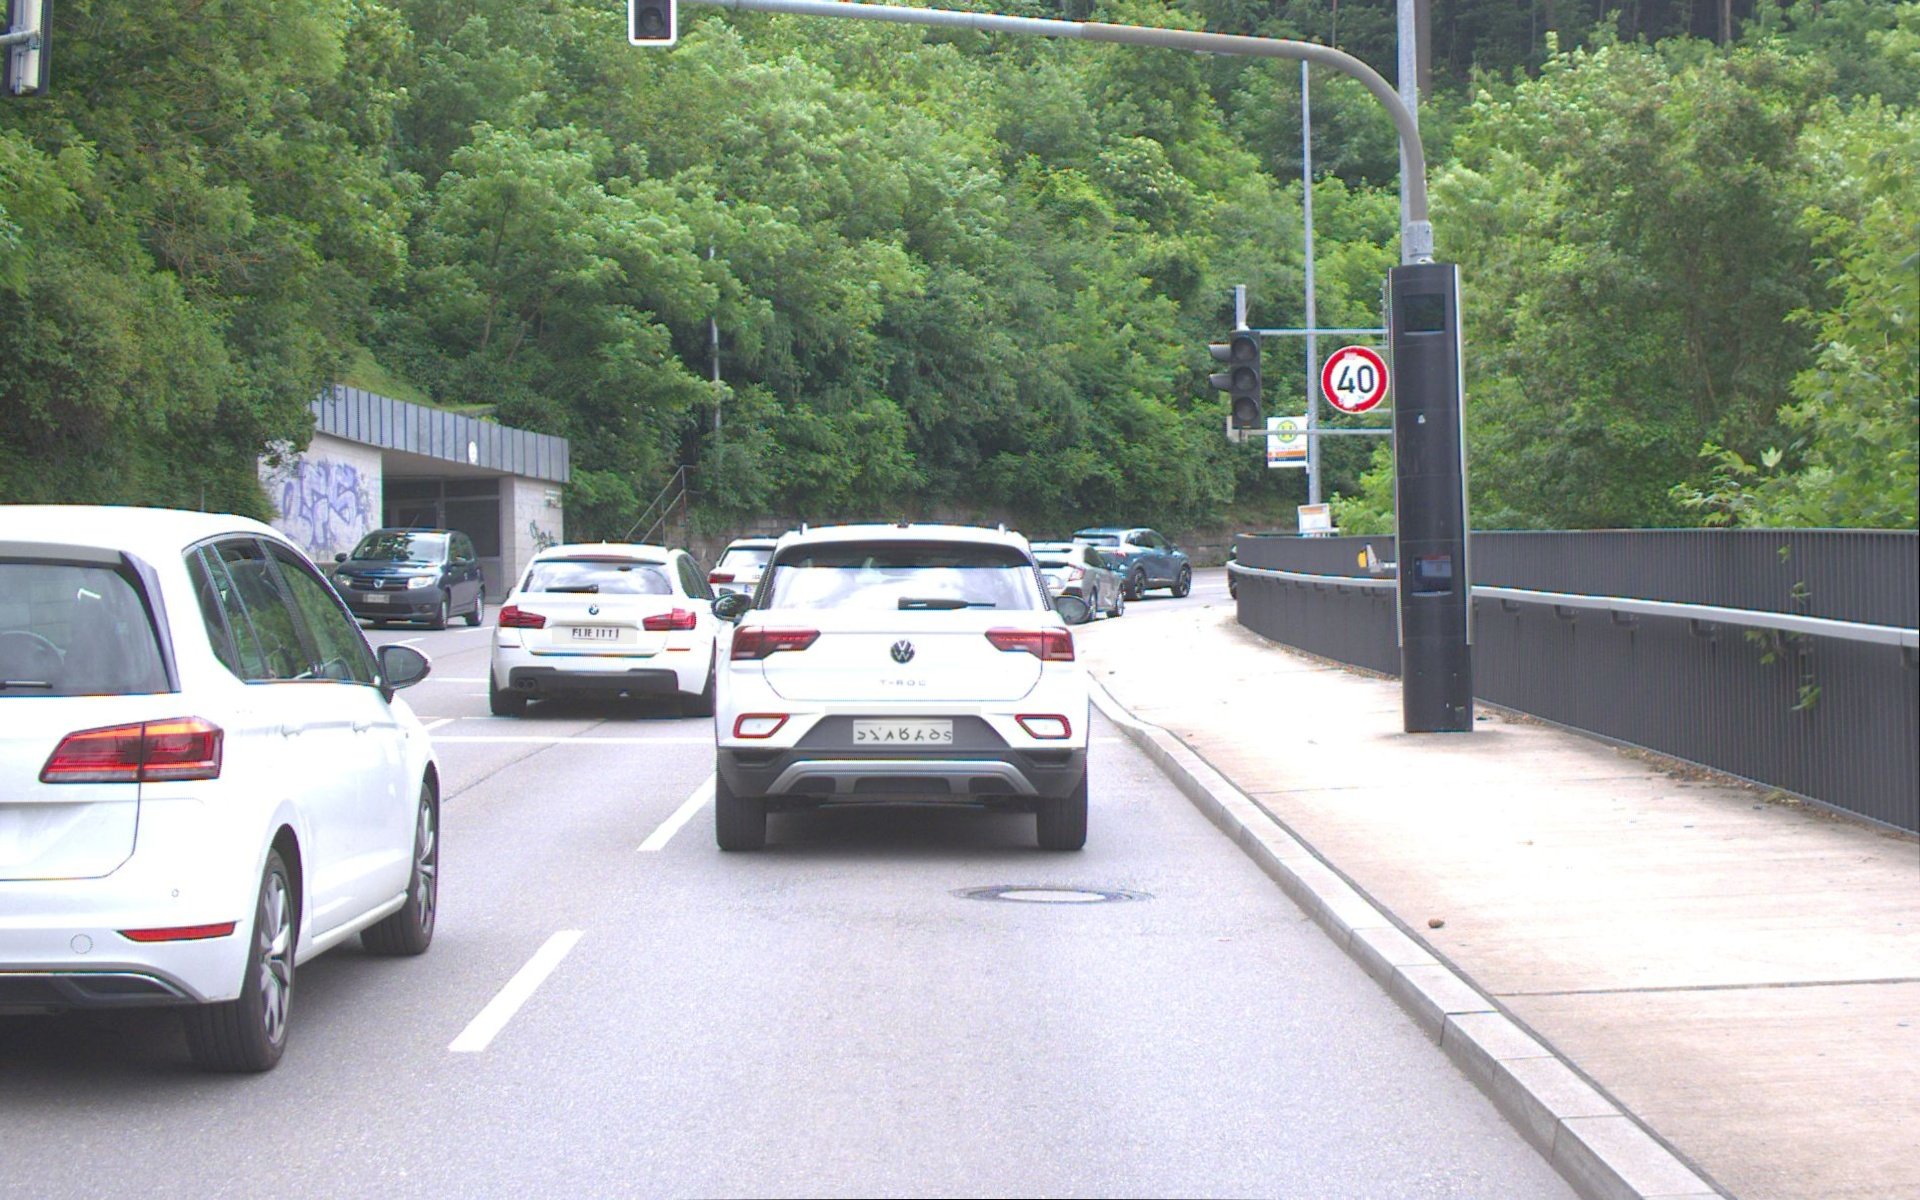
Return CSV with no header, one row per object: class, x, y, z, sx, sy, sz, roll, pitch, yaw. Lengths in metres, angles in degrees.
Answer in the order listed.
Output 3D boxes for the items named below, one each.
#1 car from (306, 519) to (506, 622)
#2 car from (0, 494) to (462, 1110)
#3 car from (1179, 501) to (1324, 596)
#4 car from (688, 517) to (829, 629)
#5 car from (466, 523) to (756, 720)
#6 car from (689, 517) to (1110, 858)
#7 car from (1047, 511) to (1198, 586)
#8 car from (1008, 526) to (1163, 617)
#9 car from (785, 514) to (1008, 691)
car,-8.319,-0.453,51.968,1.813,1.429,4.247,2,1,7
car,-2.701,0.462,10.784,1.720,1.549,4.276,1,1,-1
car,6.511,-1.131,76.478,1.996,2.007,3.995,2,1,23
car,-3.040,-0.420,52.585,1.862,1.589,4.000,2,1,0
car,-2.964,0.126,30.151,1.993,1.552,4.681,1,1,1
car,-0.188,0.370,17.490,1.814,1.534,4.008,0,1,4
car,3.570,-1.108,74.924,1.884,1.514,3.995,2,1,25
car,2.287,-0.512,61.587,2.033,1.514,4.198,2,1,12
car,-0.658,0.002,39.073,1.994,1.837,4.149,2,1,6
